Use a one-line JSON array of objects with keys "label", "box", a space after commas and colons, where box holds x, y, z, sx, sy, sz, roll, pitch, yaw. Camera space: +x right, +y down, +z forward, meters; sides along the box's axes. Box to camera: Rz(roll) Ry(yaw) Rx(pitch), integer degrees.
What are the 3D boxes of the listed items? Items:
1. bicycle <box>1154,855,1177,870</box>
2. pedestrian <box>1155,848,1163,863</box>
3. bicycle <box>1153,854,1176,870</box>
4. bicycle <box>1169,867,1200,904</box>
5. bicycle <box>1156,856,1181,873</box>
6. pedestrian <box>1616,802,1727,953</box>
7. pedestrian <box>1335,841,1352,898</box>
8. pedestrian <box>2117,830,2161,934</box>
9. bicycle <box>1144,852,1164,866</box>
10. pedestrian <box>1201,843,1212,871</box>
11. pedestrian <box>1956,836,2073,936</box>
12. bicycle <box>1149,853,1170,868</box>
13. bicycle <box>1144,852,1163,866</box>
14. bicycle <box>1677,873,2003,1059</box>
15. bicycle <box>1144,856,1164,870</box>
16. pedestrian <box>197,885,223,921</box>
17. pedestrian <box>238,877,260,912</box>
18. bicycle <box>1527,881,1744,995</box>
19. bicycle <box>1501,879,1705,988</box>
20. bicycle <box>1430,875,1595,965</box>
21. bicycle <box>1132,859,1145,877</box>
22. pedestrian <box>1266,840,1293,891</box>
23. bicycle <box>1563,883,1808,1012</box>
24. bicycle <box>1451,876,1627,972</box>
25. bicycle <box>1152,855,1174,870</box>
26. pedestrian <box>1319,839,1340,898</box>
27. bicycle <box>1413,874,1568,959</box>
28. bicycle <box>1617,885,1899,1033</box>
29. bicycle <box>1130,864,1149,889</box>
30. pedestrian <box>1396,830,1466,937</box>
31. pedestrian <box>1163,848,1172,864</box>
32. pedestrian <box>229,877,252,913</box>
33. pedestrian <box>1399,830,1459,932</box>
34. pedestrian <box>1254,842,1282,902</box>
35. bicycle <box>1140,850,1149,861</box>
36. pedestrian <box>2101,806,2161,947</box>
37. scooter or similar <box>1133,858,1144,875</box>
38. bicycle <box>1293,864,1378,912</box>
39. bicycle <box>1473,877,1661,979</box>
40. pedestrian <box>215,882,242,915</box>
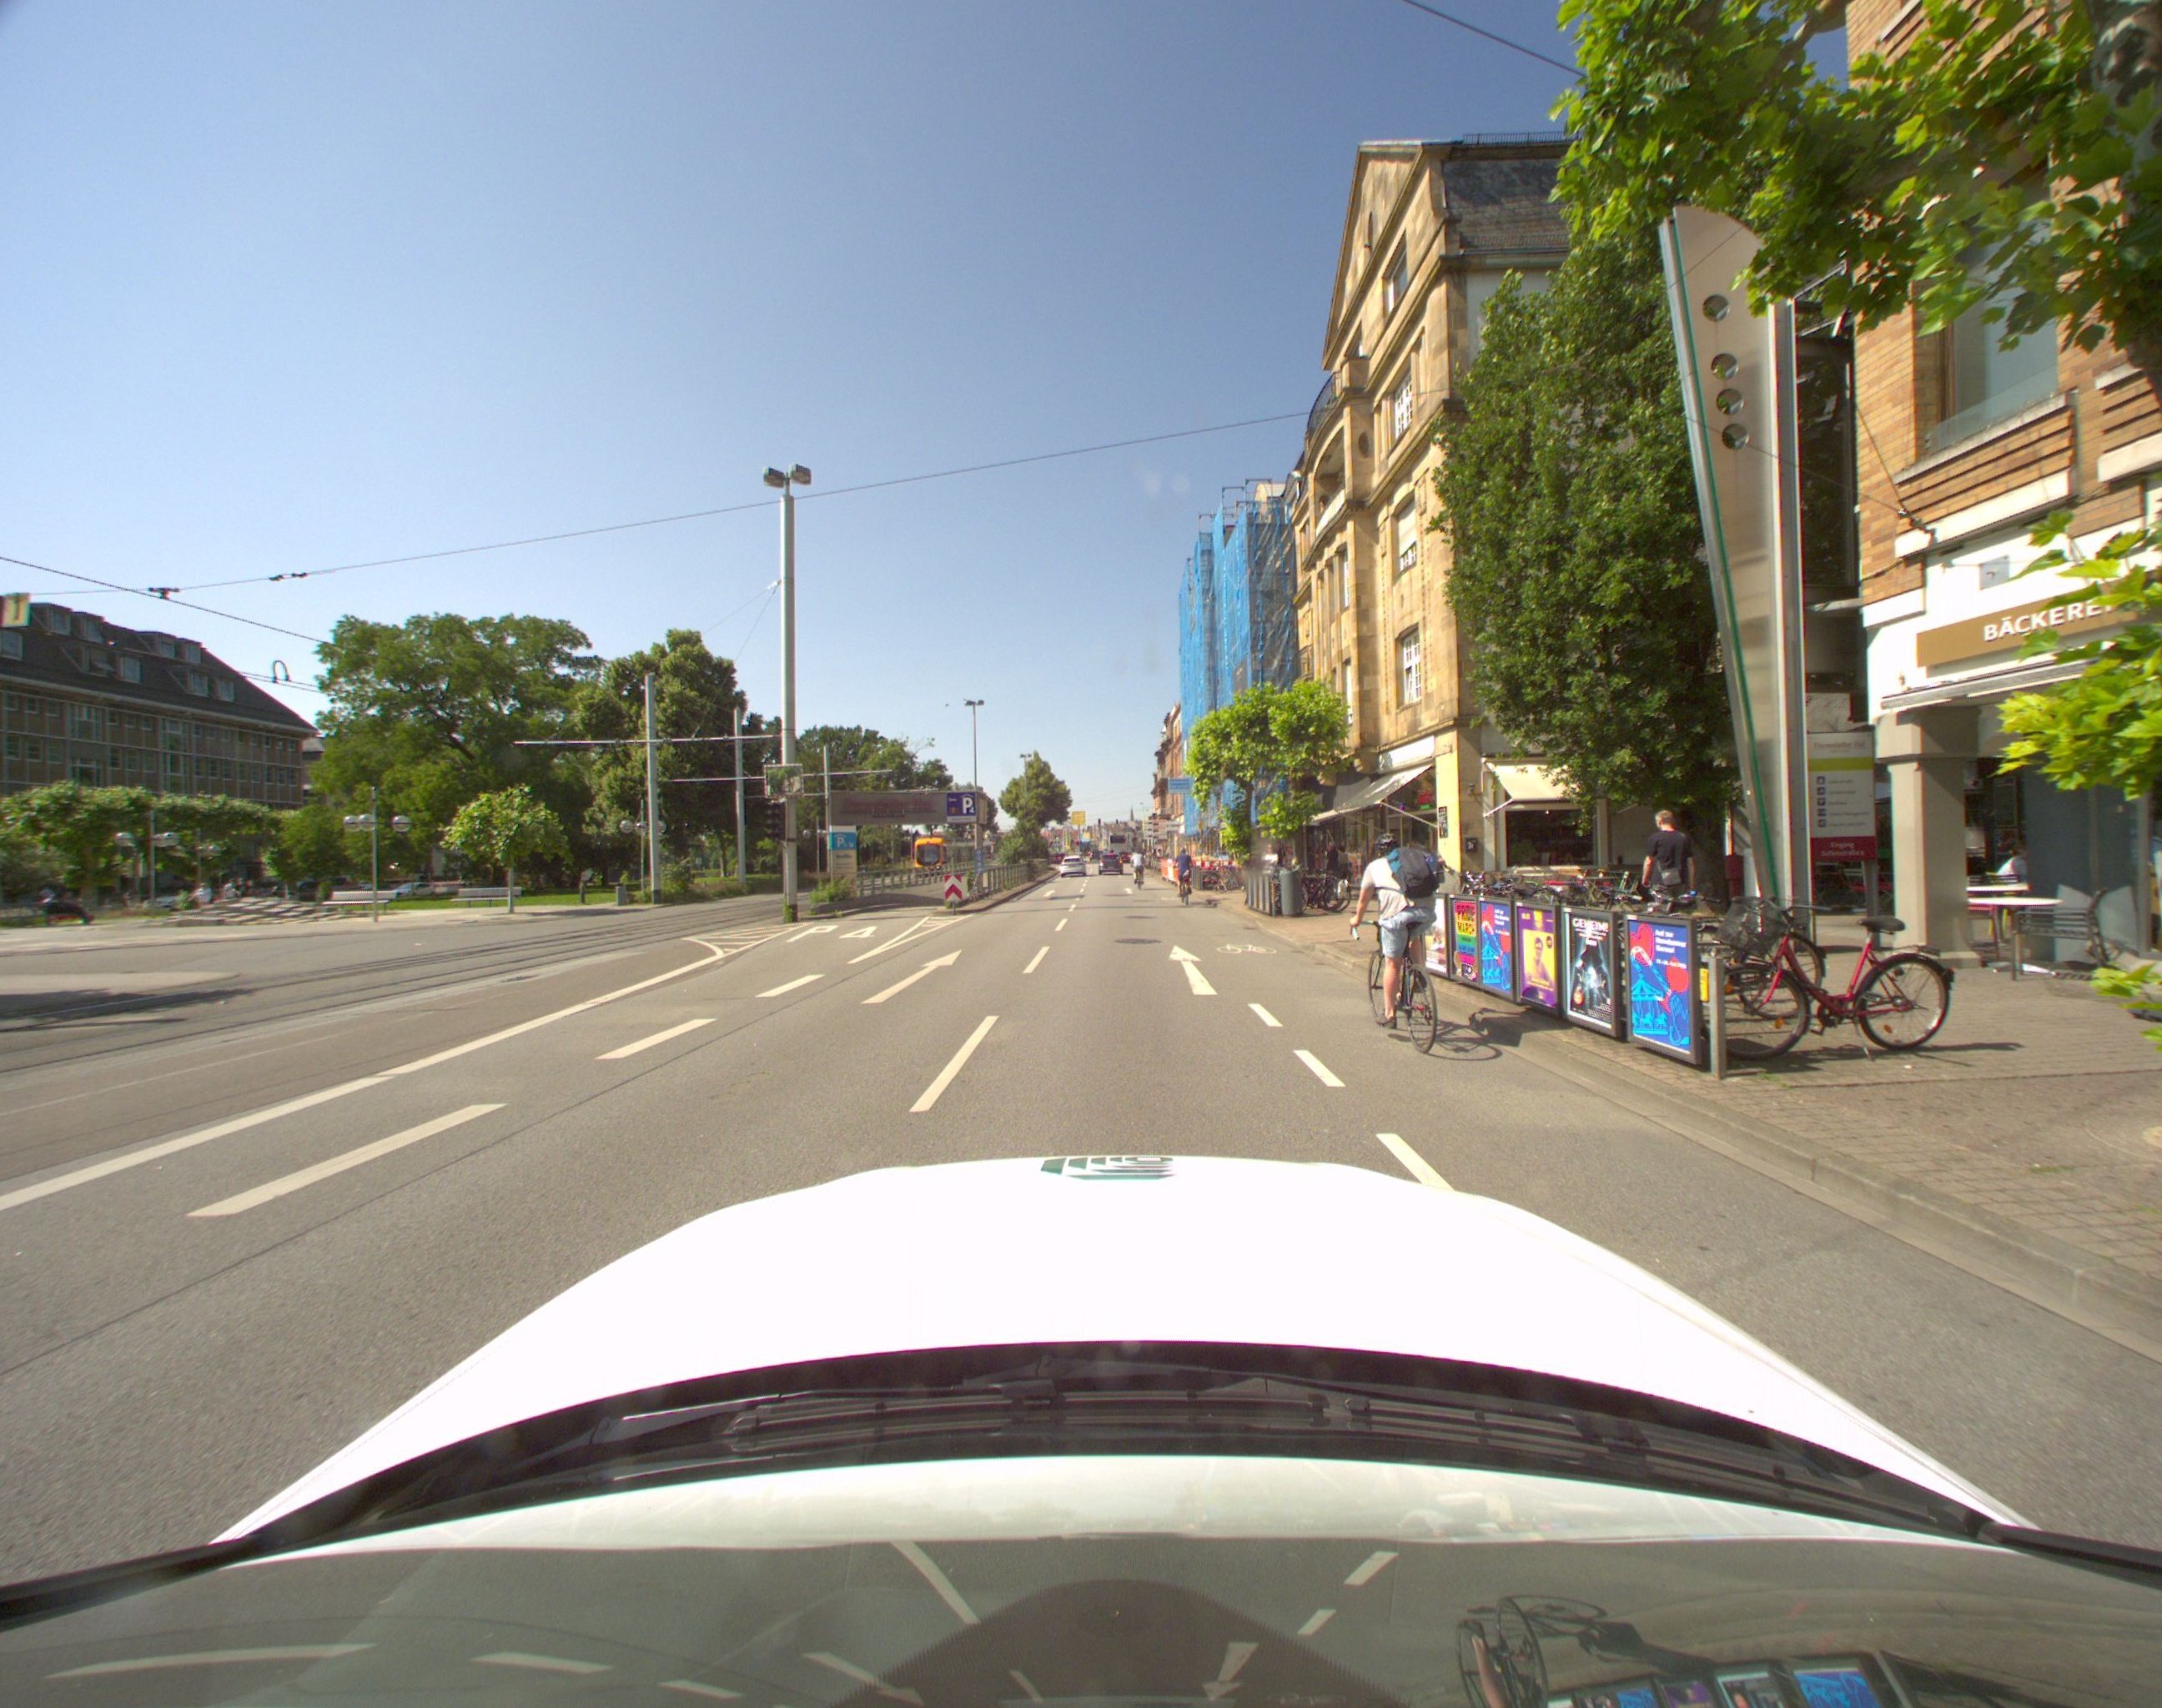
[{"label": "bicycle", "box": [6.447, 0.664, 61.917, 1.687, 1.087, 0.609, -1, 0, 2]}, {"label": "pedestrian", "box": [8.474, 0.124, 88.449, 0.652, 1.620, 0.815, -2, 1, 0]}, {"label": "bicycle", "box": [6.513, 0.626, 63.428, 1.764, 1.178, 0.609, -1, 0, 2]}, {"label": "bicycle", "box": [3.216, 0.958, 25.451, 0.731, 1.093, 1.911, 0, 0, 0]}, {"label": "bicycle", "box": [6.044, 0.721, 56.349, 1.687, 1.097, 0.609, -1, 0, 2]}, {"label": "pedestrian", "box": [7.357, 0.282, 10.200, 0.664, 1.781, 0.986, -2, -1, 6]}, {"label": "pedestrian", "box": [7.877, 0.451, 24.439, 0.377, 1.683, 0.479, -3, -1, 24]}, {"label": "pedestrian", "box": [13.274, 0.337, 9.888, 0.783, 1.255, 0.644, 0, -1, 44]}, {"label": "bicycle", "box": [6.560, 0.426, 73.469, 1.687, 1.178, 0.609, -4, 0, 2]}, {"label": "pedestrian", "box": [8.040, 0.210, 52.086, 0.637, 1.776, 0.649, 0, 0, 1]}, {"label": "pedestrian", "box": [12.172, 0.399, 10.640, 0.638, 1.255, 0.790, 0, 0, -11]}, {"label": "bicycle", "box": [6.510, 0.556, 67.852, 1.687, 1.241, 0.609, -1, 0, 2]}, {"label": "bicycle", "box": [6.598, 0.424, 74.100, 1.687, 1.178, 0.609, -2, 0, 2]}, {"label": "bicycle", "box": [5.082, 0.725, 5.502, 1.747, 1.147, 0.483, -1, 0, -1]}, {"label": "bicycle", "box": [6.521, 0.799, 72.711, 1.687, 1.178, 0.609, -2, 0, 2]}, {"label": "pedestrian", "box": [-41.486, 2.332, 38.804, 0.492, 1.609, 0.619, -4, 0, -8]}, {"label": "pedestrian", "box": [-39.107, 1.889, 38.296, 0.413, 1.609, 0.493, -4, 0, -8]}, {"label": "bicycle", "box": [5.209, 0.775, 7.691, 1.712, 0.985, 0.483, -1, 0, -1]}, {"label": "bicycle", "box": [5.260, 0.787, 8.252, 1.747, 1.018, 0.483, -1, 0, -1]}, {"label": "bicycle", "box": [5.256, 0.791, 9.961, 1.747, 1.018, 0.483, -1, 0, -1]}, {"label": "bicycle", "box": [3.771, 0.906, 53.371, 0.731, 1.093, 1.898, 0, 0, 1]}, {"label": "pedestrian", "box": [7.362, 0.418, 30.238, 0.809, 1.848, 0.893, -3, -1, 9]}, {"label": "bicycle", "box": [5.184, 0.784, 7.027, 1.747, 1.018, 0.483, -1, 0, -1]}, {"label": "bicycle", "box": [5.247, 0.789, 9.381, 1.747, 1.018, 0.483, -1, 0, -1]}, {"label": "bicycle", "box": [6.525, 0.675, 65.013, 1.687, 1.178, 0.609, -1, 0, 2]}, {"label": "pedestrian", "box": [7.381, 0.425, 24.153, 0.494, 1.683, 0.539, -4, -1, 18]}, {"label": "bicycle", "box": [5.265, 0.792, 10.506, 1.747, 1.018, 0.483, -1, 0, -1]}, {"label": "bicycle", "box": [5.121, 0.775, 6.205, 1.747, 1.018, 0.483, -1, 0, -1]}, {"label": "bicycle", "box": [2.602, 0.988, 36.412, 0.731, 1.093, 1.898, 0, 0, 0]}, {"label": "pedestrian", "box": [5.590, 0.459, 13.031, 0.695, 1.626, 0.700, -3, 0, -8]}, {"label": "pedestrian", "box": [9.537, 0.229, 89.548, 0.753, 1.656, 0.837, -5, -1, 0]}, {"label": "pedestrian", "box": [-38.540, 1.870, 37.336, 0.450, 1.609, 0.466, -4, 0, 2]}, {"label": "pedestrian", "box": [5.819, 0.445, 13.640, 0.598, 1.626, 0.643, -4, 0, -5]}, {"label": "pedestrian", "box": [5.392, 0.522, 23.558, 0.653, 1.683, 0.654, -2, -1, 5]}, {"label": "bicycle", "box": [6.416, 0.140, 81.923, 0.732, 1.093, 1.897, 0, 0, 0]}, {"label": "pedestrian", "box": [9.909, 0.199, 7.361, 0.783, 1.255, 0.644, 0, -1, 44]}, {"label": "scooter or similar", "box": [4.015, 0.861, 57.153, 0.686, 1.167, 1.463, 0, 0, 0]}, {"label": "bicycle", "box": [5.685, 0.756, 18.234, 1.747, 1.018, 0.483, -1, 0, -1]}, {"label": "bicycle", "box": [5.245, 0.788, 8.832, 1.747, 1.018, 0.483, -1, 0, -1]}, {"label": "pedestrian", "box": [-40.722, 2.131, 38.907, 0.524, 1.493, 0.660, -4, 0, -7]}]
